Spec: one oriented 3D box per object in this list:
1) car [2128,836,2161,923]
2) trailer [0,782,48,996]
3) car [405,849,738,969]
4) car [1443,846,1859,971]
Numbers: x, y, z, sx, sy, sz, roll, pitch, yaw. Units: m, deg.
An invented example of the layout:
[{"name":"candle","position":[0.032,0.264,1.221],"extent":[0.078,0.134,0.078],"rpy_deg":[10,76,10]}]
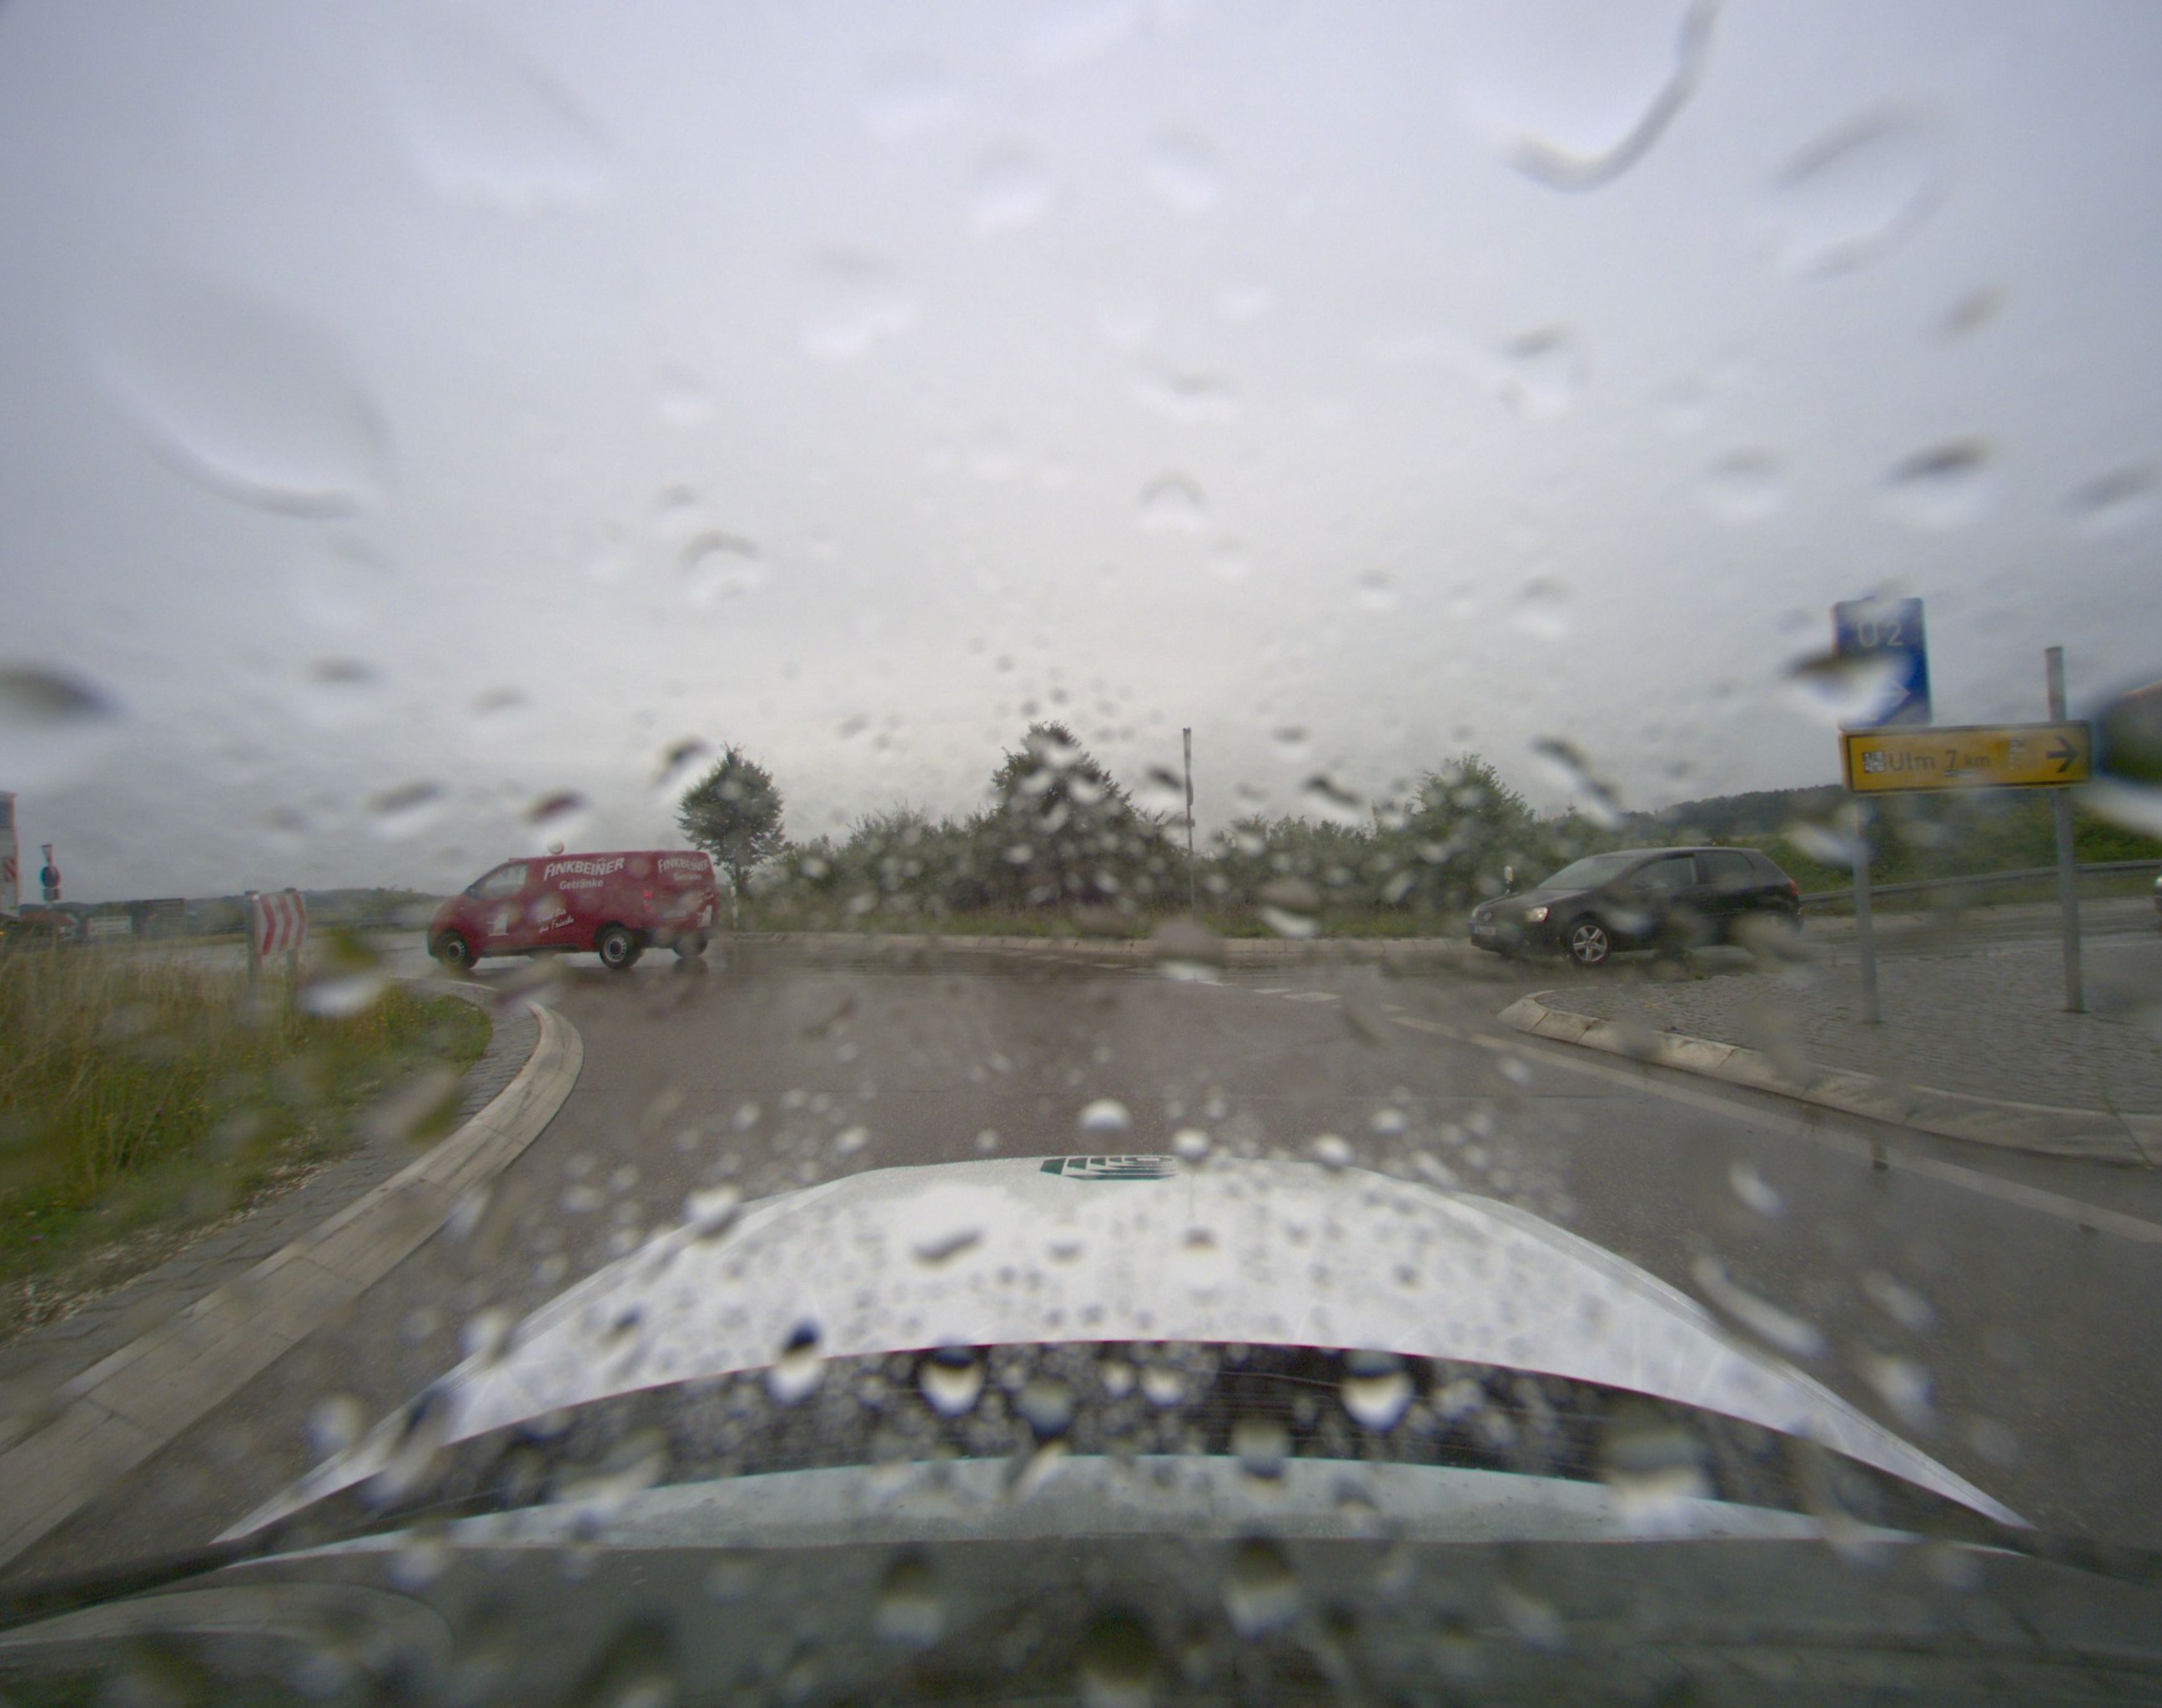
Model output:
[{"name":"car","position":[19.302,0.356,12.738],"extent":[4.495,1.371,1.941],"rpy_deg":[-1,0,-14]},{"name":"trailer","position":[-23.557,0.786,12.172],"extent":[9.729,3.819,2.818],"rpy_deg":[-2,-1,-25]},{"name":"car","position":[-8.888,0.937,14.339],"extent":[4.928,1.870,2.007],"rpy_deg":[-2,-1,13]},{"name":"car","position":[7.515,0.658,10.992],"extent":[4.483,1.421,1.870],"rpy_deg":[-1,0,-6]}]
